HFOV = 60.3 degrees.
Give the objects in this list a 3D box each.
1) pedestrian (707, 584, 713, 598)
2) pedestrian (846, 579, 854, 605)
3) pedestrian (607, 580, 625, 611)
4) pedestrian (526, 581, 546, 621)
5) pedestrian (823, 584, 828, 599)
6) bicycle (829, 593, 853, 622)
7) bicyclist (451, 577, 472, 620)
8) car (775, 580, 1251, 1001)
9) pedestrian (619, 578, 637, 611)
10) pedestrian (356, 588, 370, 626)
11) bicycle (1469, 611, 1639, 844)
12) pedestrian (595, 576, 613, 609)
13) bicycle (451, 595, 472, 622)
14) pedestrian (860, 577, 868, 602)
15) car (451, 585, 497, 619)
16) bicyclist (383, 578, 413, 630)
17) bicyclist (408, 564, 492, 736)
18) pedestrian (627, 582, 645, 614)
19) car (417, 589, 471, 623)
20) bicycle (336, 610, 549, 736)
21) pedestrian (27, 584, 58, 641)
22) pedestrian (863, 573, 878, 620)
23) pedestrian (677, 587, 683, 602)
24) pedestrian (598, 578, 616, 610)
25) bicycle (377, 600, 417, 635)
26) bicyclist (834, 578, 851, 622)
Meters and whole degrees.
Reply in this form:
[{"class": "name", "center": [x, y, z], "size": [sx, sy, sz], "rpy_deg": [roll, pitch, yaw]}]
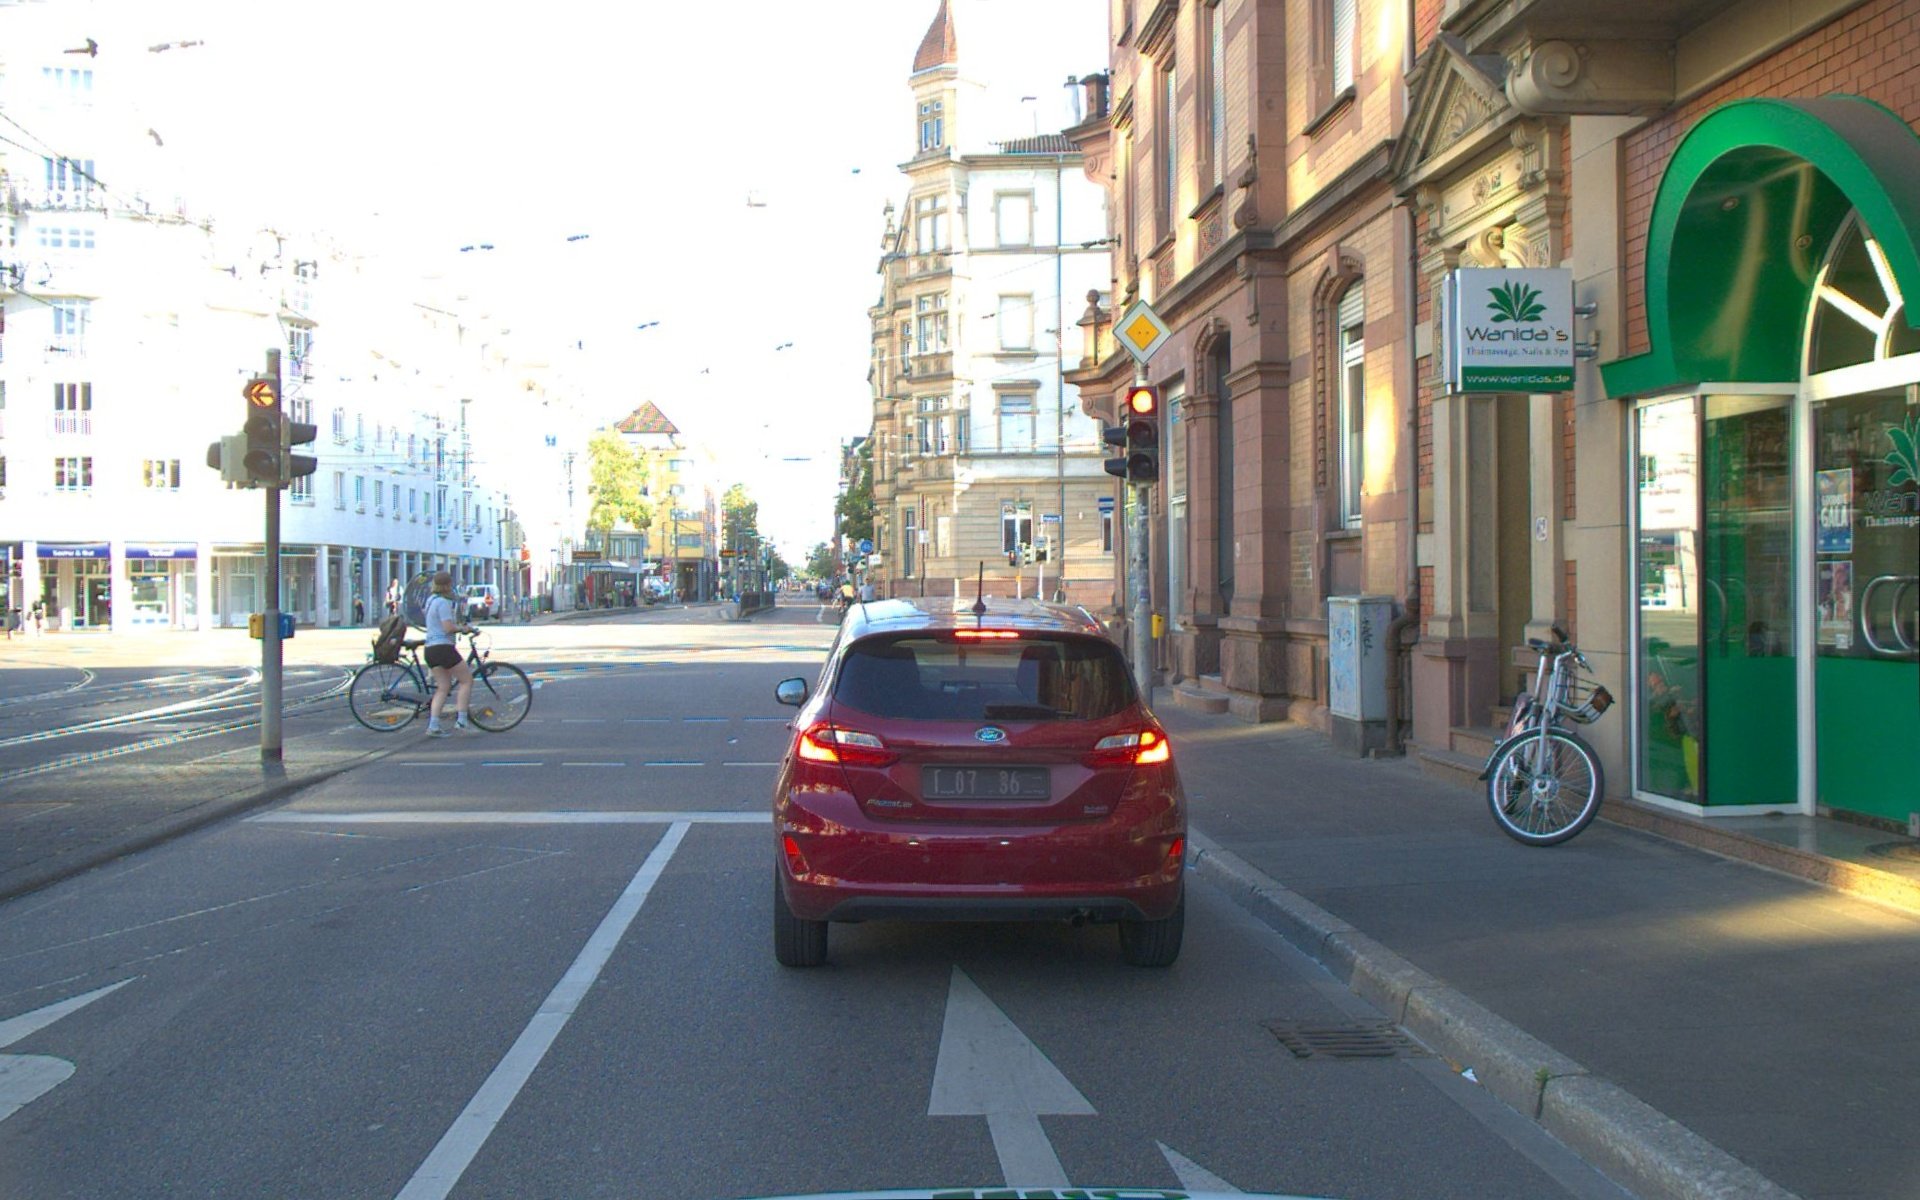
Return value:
[{"class": "pedestrian", "center": [-29.880, -1.105, 197.688], "size": [0.620, 1.632, 0.575], "rpy_deg": [-1, 0, -21]}, {"class": "pedestrian", "center": [-8.651, -0.662, 130.067], "size": [0.565, 2.049, 0.631], "rpy_deg": [-1, 0, 1]}, {"class": "pedestrian", "center": [-22.445, -0.300, 108.029], "size": [1.025, 2.049, 0.958], "rpy_deg": [-1, 0, -7]}, {"class": "pedestrian", "center": [-19.015, 0.047, 74.134], "size": [0.753, 1.761, 0.572], "rpy_deg": [0, 0, -3]}, {"class": "pedestrian", "center": [-16.739, -1.076, 205.777], "size": [0.566, 1.920, 0.669], "rpy_deg": [-1, 0, -5]}, {"class": "bicycle", "center": [-4.690, 0.288, 65.271], "size": [0.519, 1.108, 1.477], "rpy_deg": [-1, 0, -21]}, {"class": "bicyclist", "center": [-21.808, -0.087, 72.316], "size": [0.796, 1.853, 0.988], "rpy_deg": [-1, 0, -20]}, {"class": "car", "center": [-0.010, 0.672, 7.934], "size": [1.720, 1.492, 3.940], "rpy_deg": [1, 0, -6]}, {"class": "pedestrian", "center": [-20.927, -0.353, 104.311], "size": [1.025, 2.049, 0.958], "rpy_deg": [-1, 0, -7]}, {"class": "pedestrian", "center": [-26.669, 0.303, 73.903], "size": [0.515, 1.711, 0.484], "rpy_deg": [-1, 0, -12]}, {"class": "bicycle", "center": [3.372, 0.682, 9.514], "size": [0.700, 1.172, 1.656], "rpy_deg": [-2, 1, 13]}, {"class": "pedestrian", "center": [-21.966, -0.455, 102.004], "size": [0.937, 2.049, 1.047], "rpy_deg": [-1, 0, -5]}, {"class": "bicycle", "center": [-21.892, 0.361, 72.566], "size": [0.795, 1.167, 1.999], "rpy_deg": [-1, 0, -19]}, {"class": "pedestrian", "center": [-7.901, -0.856, 136.236], "size": [0.565, 2.049, 0.631], "rpy_deg": [-1, 0, 1]}, {"class": "car", "center": [-25.918, 0.089, 88.346], "size": [1.668, 1.748, 3.560], "rpy_deg": [-1, 0, -5]}, {"class": "bicyclist", "center": [-19.157, 0.129, 56.370], "size": [0.792, 1.756, 0.793], "rpy_deg": [-1, 0, -5]}, {"class": "bicyclist", "center": [-5.065, 0.487, 16.405], "size": [0.719, 1.655, 0.760], "rpy_deg": [1, 0, -22]}, {"class": "pedestrian", "center": [-20.927, -0.132, 106.760], "size": [1.025, 2.049, 0.958], "rpy_deg": [-1, 0, -7]}, {"class": "car", "center": [-25.180, 0.265, 80.787], "size": [1.730, 1.573, 3.458], "rpy_deg": [-1, 0, -4]}, {"class": "bicycle", "center": [-5.170, 0.716, 16.572], "size": [1.989, 1.198, 0.624], "rpy_deg": [1, 0, -21]}, {"class": "pedestrian", "center": [-33.204, 0.445, 59.862], "size": [0.935, 2.049, 0.930], "rpy_deg": [-1, 0, -33]}, {"class": "pedestrian", "center": [-3.900, -0.158, 72.044], "size": [0.638, 2.049, 0.759], "rpy_deg": [-1, 0, -6]}, {"class": "pedestrian", "center": [-28.449, -0.562, 167.822], "size": [0.513, 1.514, 0.582], "rpy_deg": [-1, 0, -3]}, {"class": "pedestrian", "center": [-22.503, -0.394, 105.502], "size": [1.025, 2.049, 0.958], "rpy_deg": [-1, 0, -7]}, {"class": "bicycle", "center": [-19.142, 0.581, 56.285], "size": [0.792, 1.167, 2.047], "rpy_deg": [-1, 0, -5]}, {"class": "bicyclist", "center": [-4.622, -0.010, 65.073], "size": [0.492, 1.705, 0.541], "rpy_deg": [-1, 0, -22]}]
